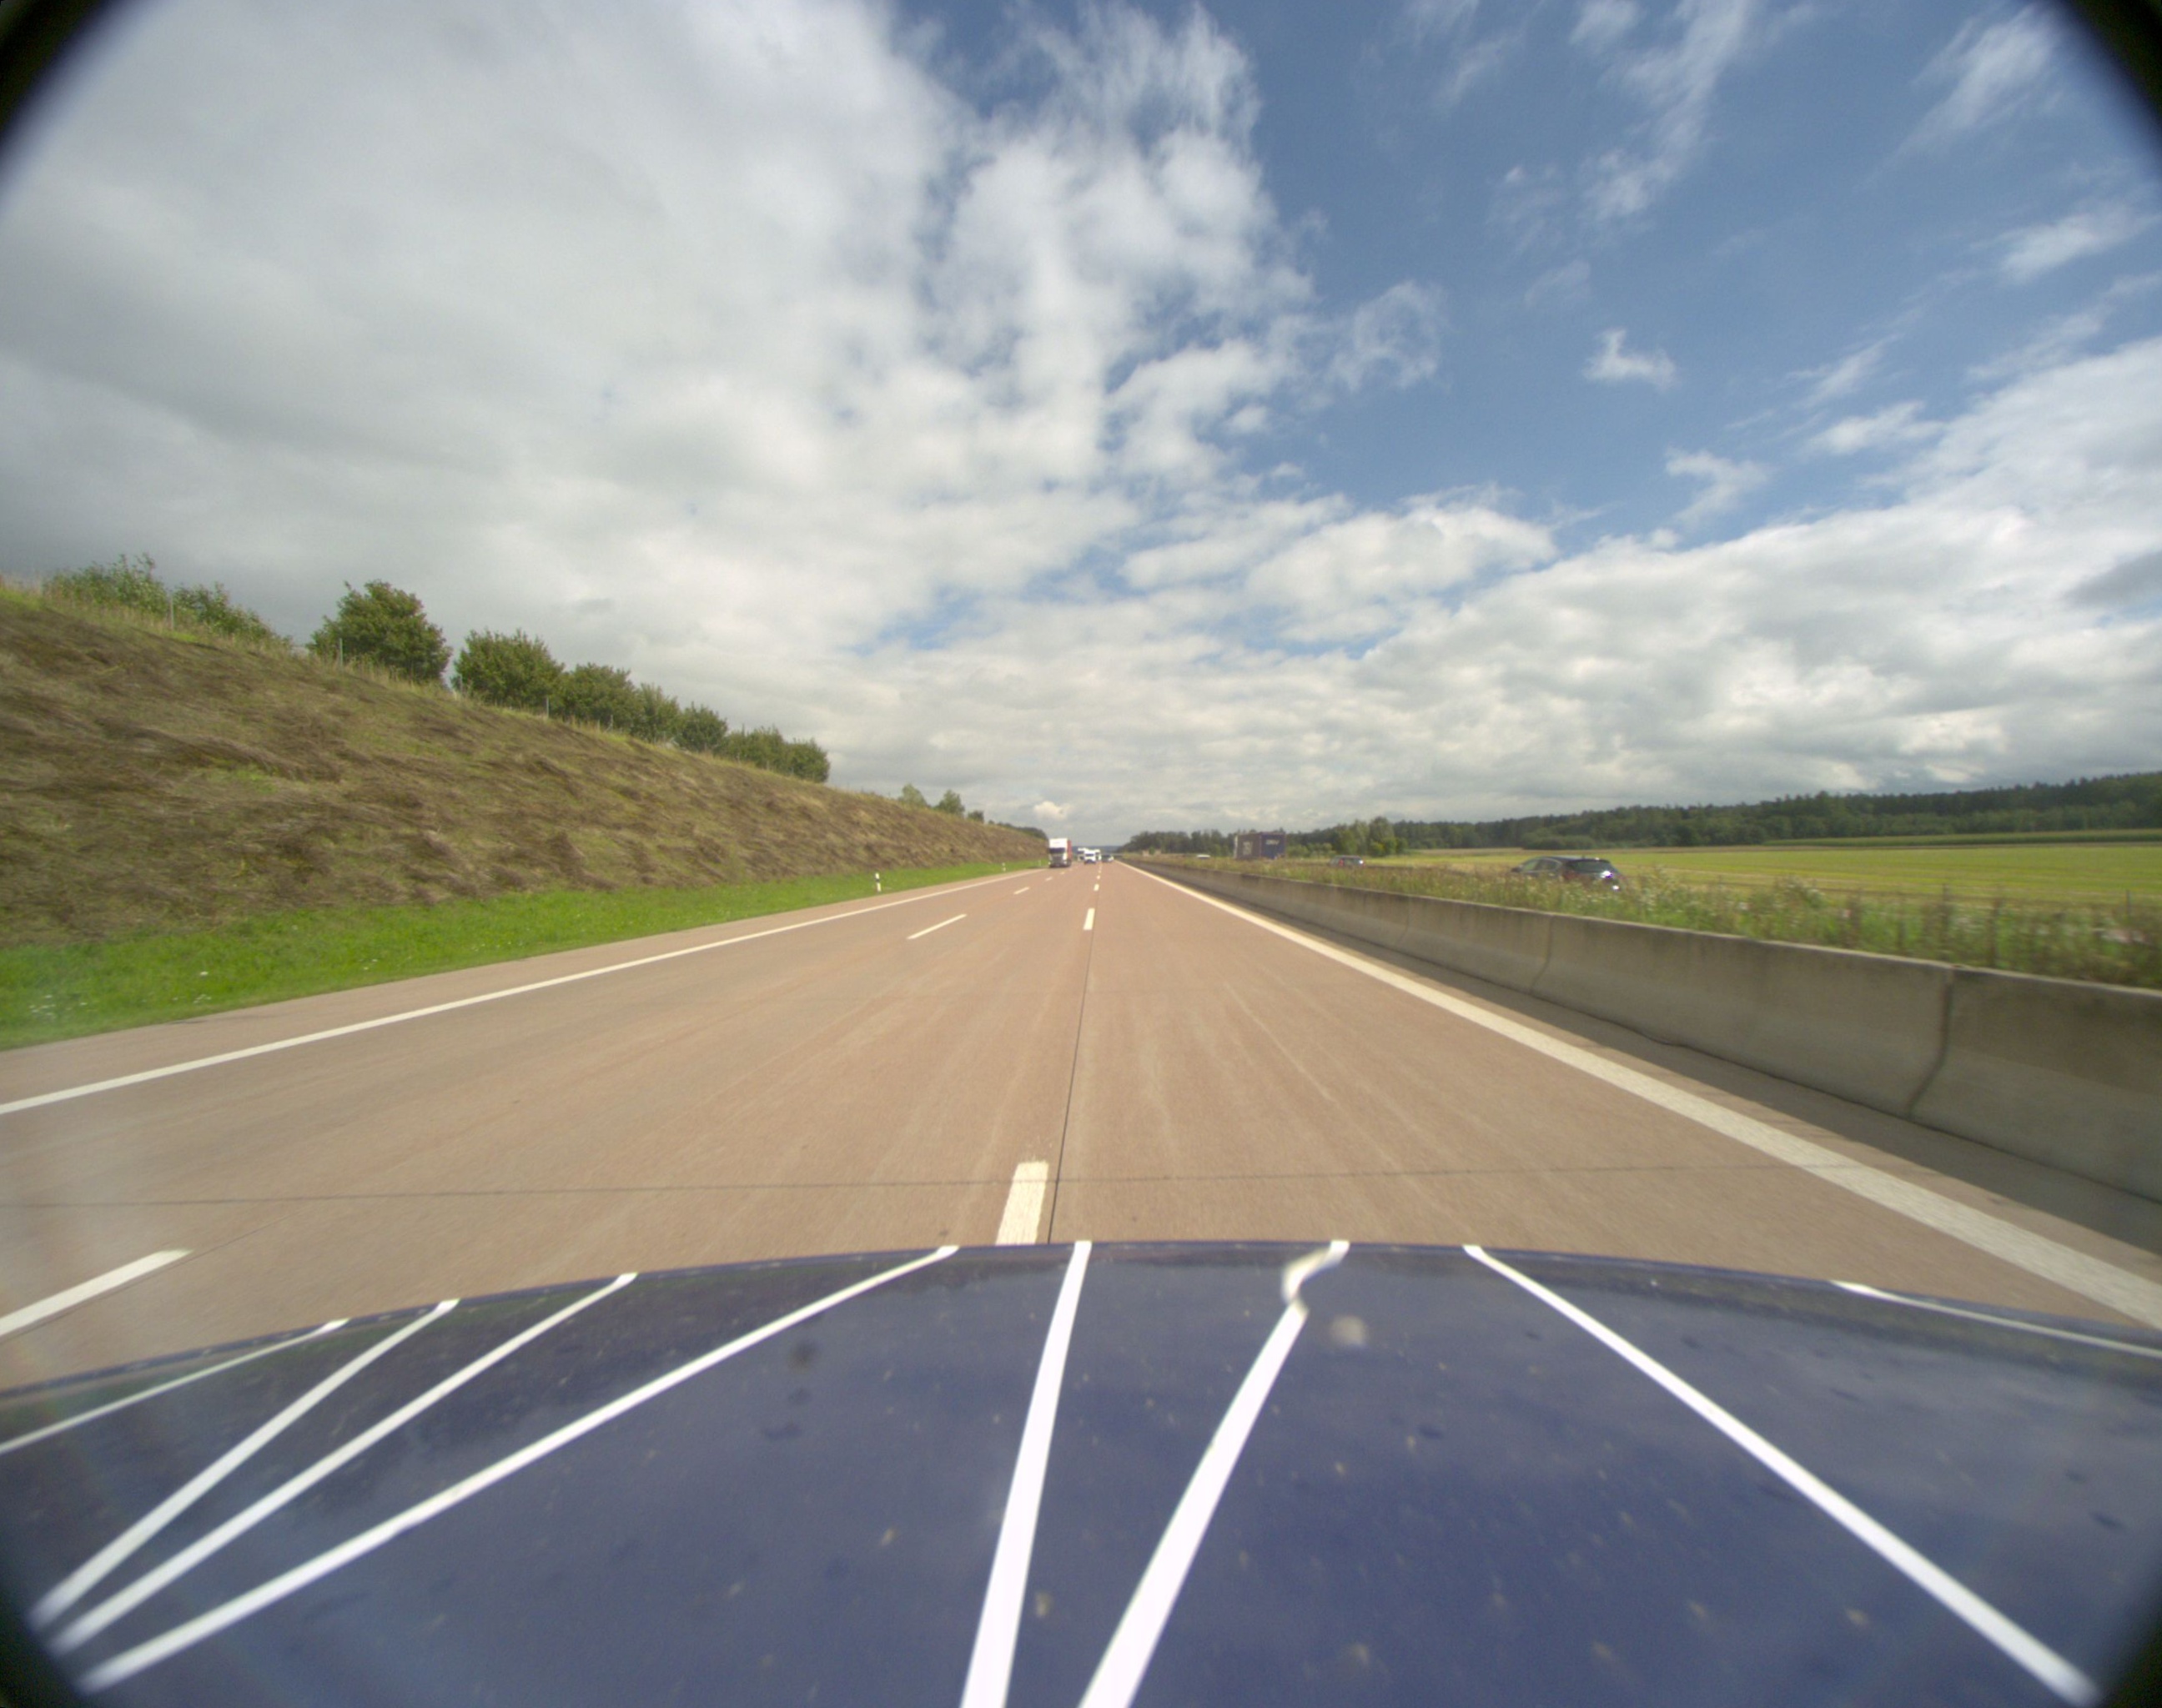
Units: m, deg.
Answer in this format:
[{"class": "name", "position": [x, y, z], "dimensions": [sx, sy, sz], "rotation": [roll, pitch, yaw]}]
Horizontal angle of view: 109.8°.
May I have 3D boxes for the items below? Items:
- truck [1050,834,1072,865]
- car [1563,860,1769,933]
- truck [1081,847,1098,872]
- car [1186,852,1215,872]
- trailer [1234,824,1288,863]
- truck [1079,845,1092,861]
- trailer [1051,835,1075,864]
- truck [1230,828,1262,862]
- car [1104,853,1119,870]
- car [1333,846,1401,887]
[{"class": "truck", "position": [-2.773, -0.626, 108.060], "dimensions": [2.680, 4.082, 6.616], "rotation": [-2, 0, 2]}, {"class": "car", "position": [13.363, 0.891, 17.723], "dimensions": [1.787, 1.455, 4.000], "rotation": [0, 1, 2]}, {"class": "truck", "position": [1.583, 0.981, 139.651], "dimensions": [2.680, 4.333, 11.809], "rotation": [-3, 0, 2]}, {"class": "car", "position": [11.863, 0.747, 75.751], "dimensions": [1.998, 1.898, 5.884], "rotation": [0, 1, 1]}, {"class": "trailer", "position": [19.667, -1.094, 84.203], "dimensions": [2.777, 3.936, 14.331], "rotation": [-1, 0, 1]}, {"class": "truck", "position": [1.258, -0.347, 215.691], "dimensions": [3.107, 4.333, 11.257], "rotation": [-3, 0, 2]}, {"class": "trailer", "position": [-2.585, -0.630, 113.931], "dimensions": [2.679, 4.069, 12.790], "rotation": [-2, 0, 2]}, {"class": "truck", "position": [19.803, -1.089, 91.340], "dimensions": [2.777, 3.936, 5.290], "rotation": [-1, 0, 1]}, {"class": "car", "position": [6.307, 1.525, 156.570], "dimensions": [2.773, 3.260, 6.393], "rotation": [-3, 0, 3]}, {"class": "car", "position": [14.593, 0.609, 38.949], "dimensions": [1.998, 2.002, 4.000], "rotation": [0, 1, 1]}]
